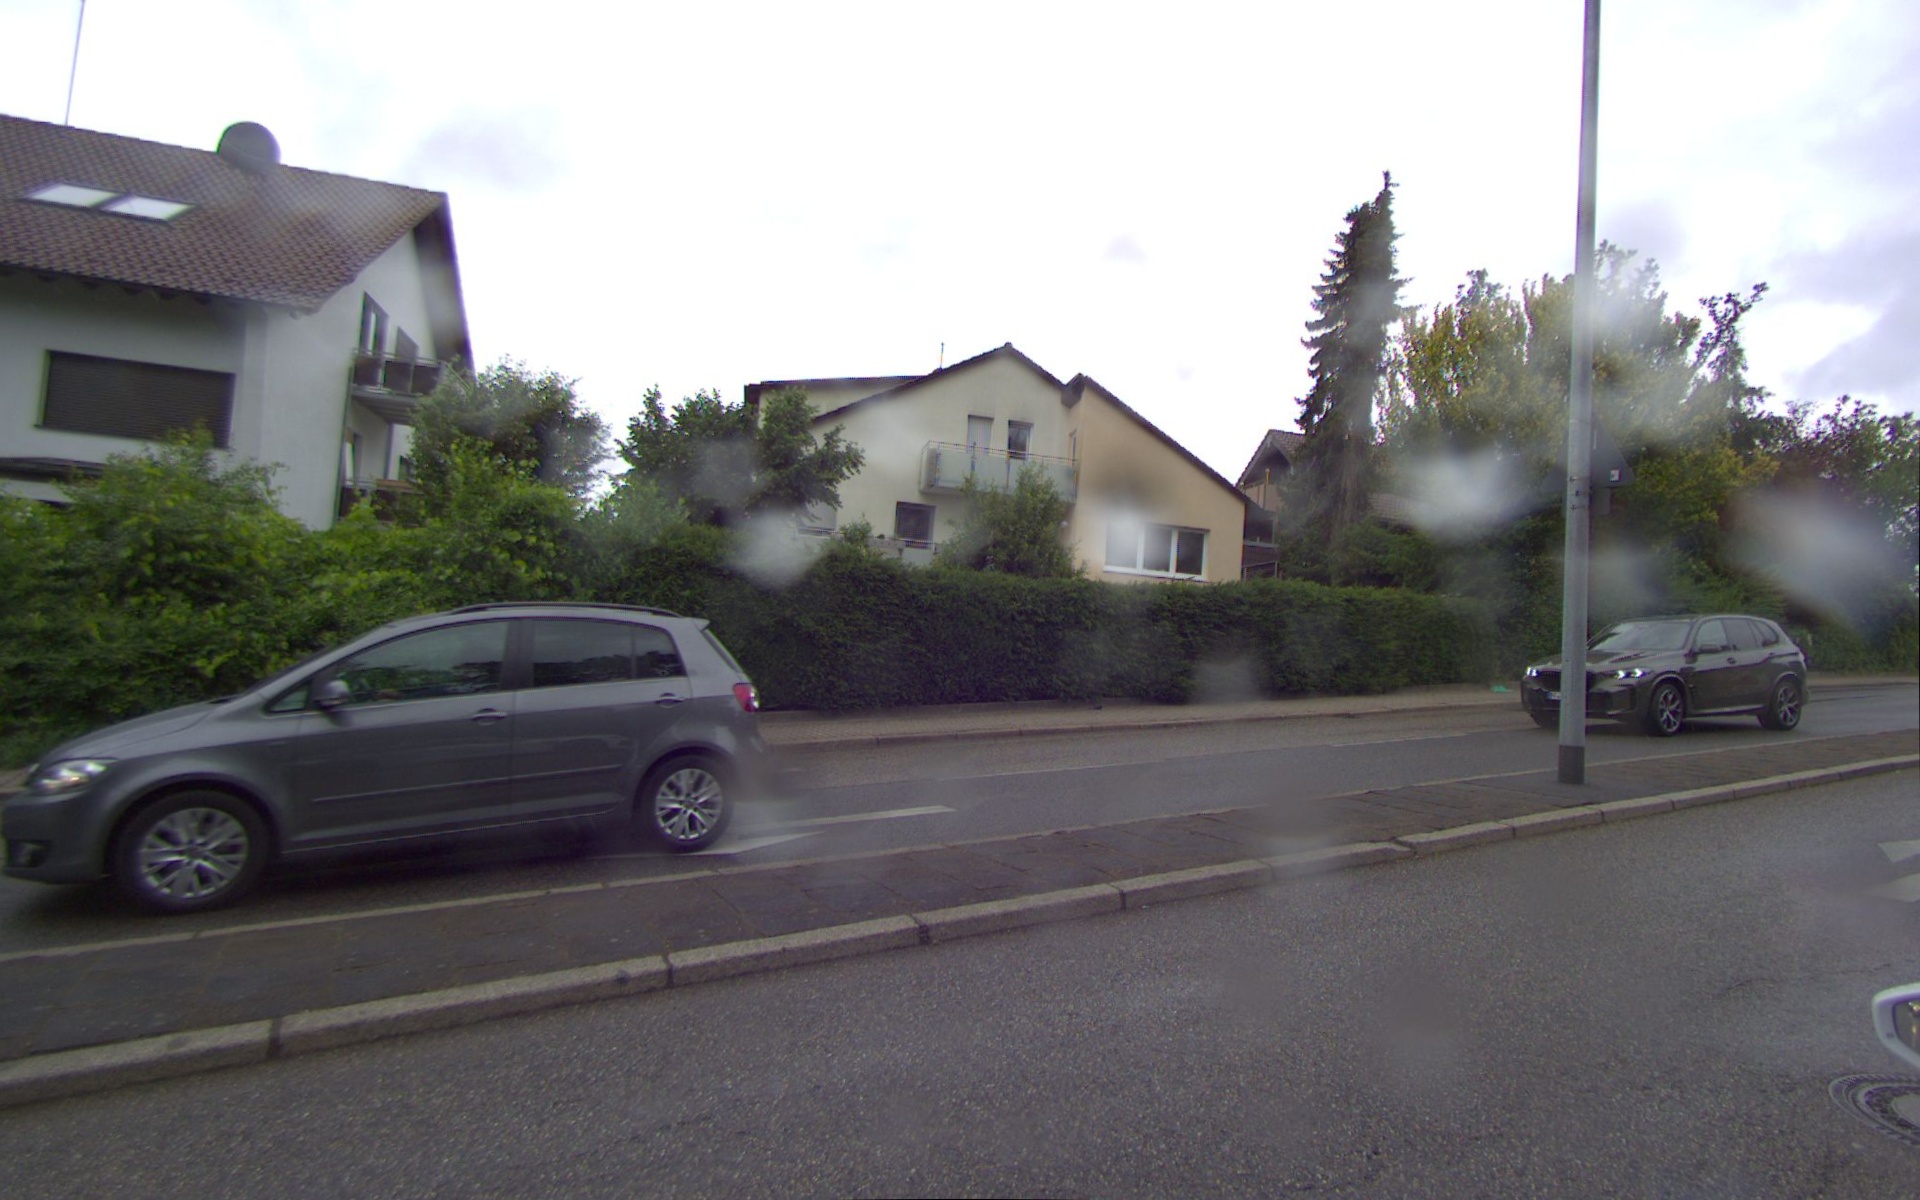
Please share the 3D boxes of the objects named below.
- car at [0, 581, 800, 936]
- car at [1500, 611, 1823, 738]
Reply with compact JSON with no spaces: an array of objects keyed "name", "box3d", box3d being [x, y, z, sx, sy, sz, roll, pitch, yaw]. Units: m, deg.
[{"name":"car","box3d":[-3.210,0.807,6.428,3.988,1.623,1.733,2,-3,-33]},{"name":"car","box3d":[10.957,1.107,15.694,4.650,1.739,1.989,1,-2,-23]}]
